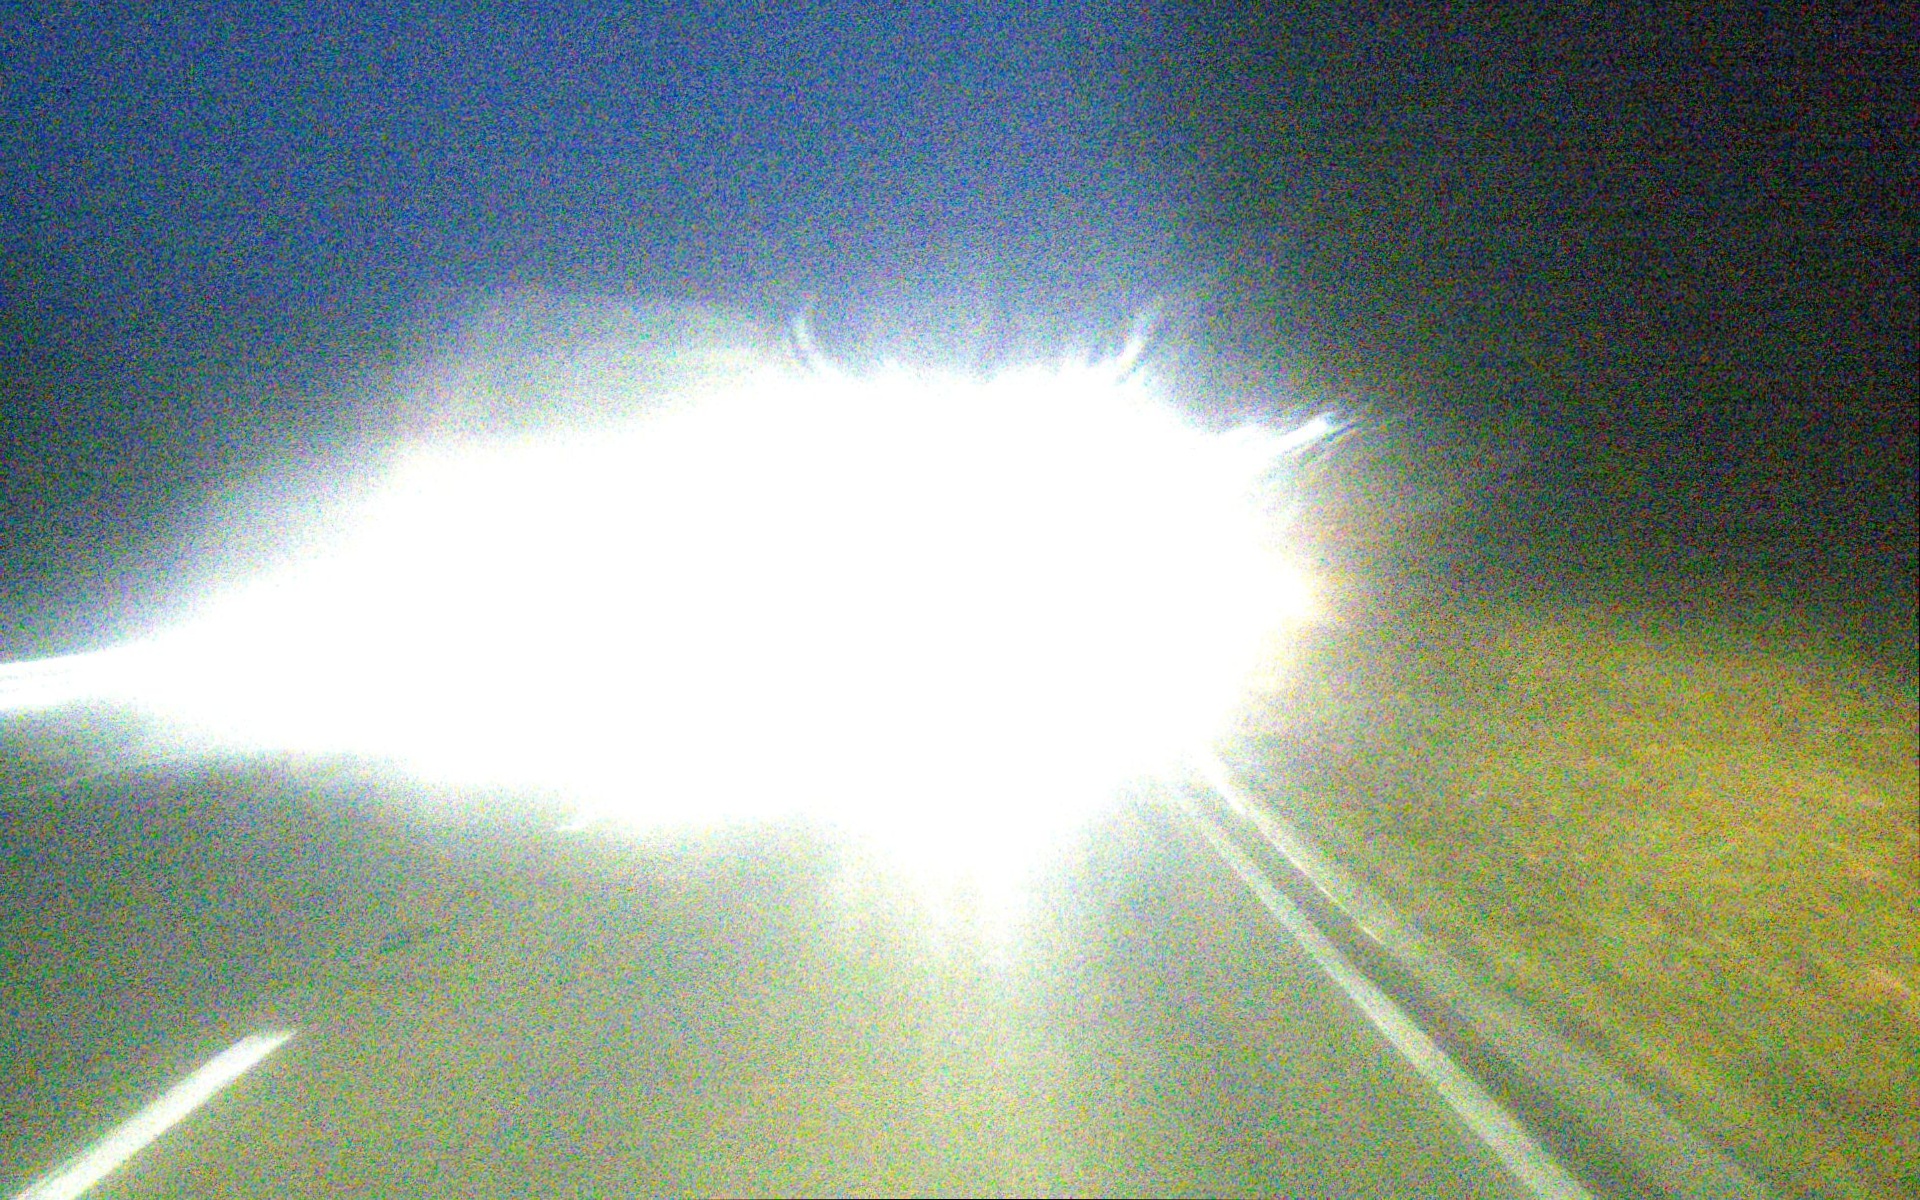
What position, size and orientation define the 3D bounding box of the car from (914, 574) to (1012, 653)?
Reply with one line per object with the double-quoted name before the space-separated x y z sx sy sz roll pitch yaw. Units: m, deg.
"car" 0.102 0.325 77.276 1.994 1.687 4.697 1 -1 2
